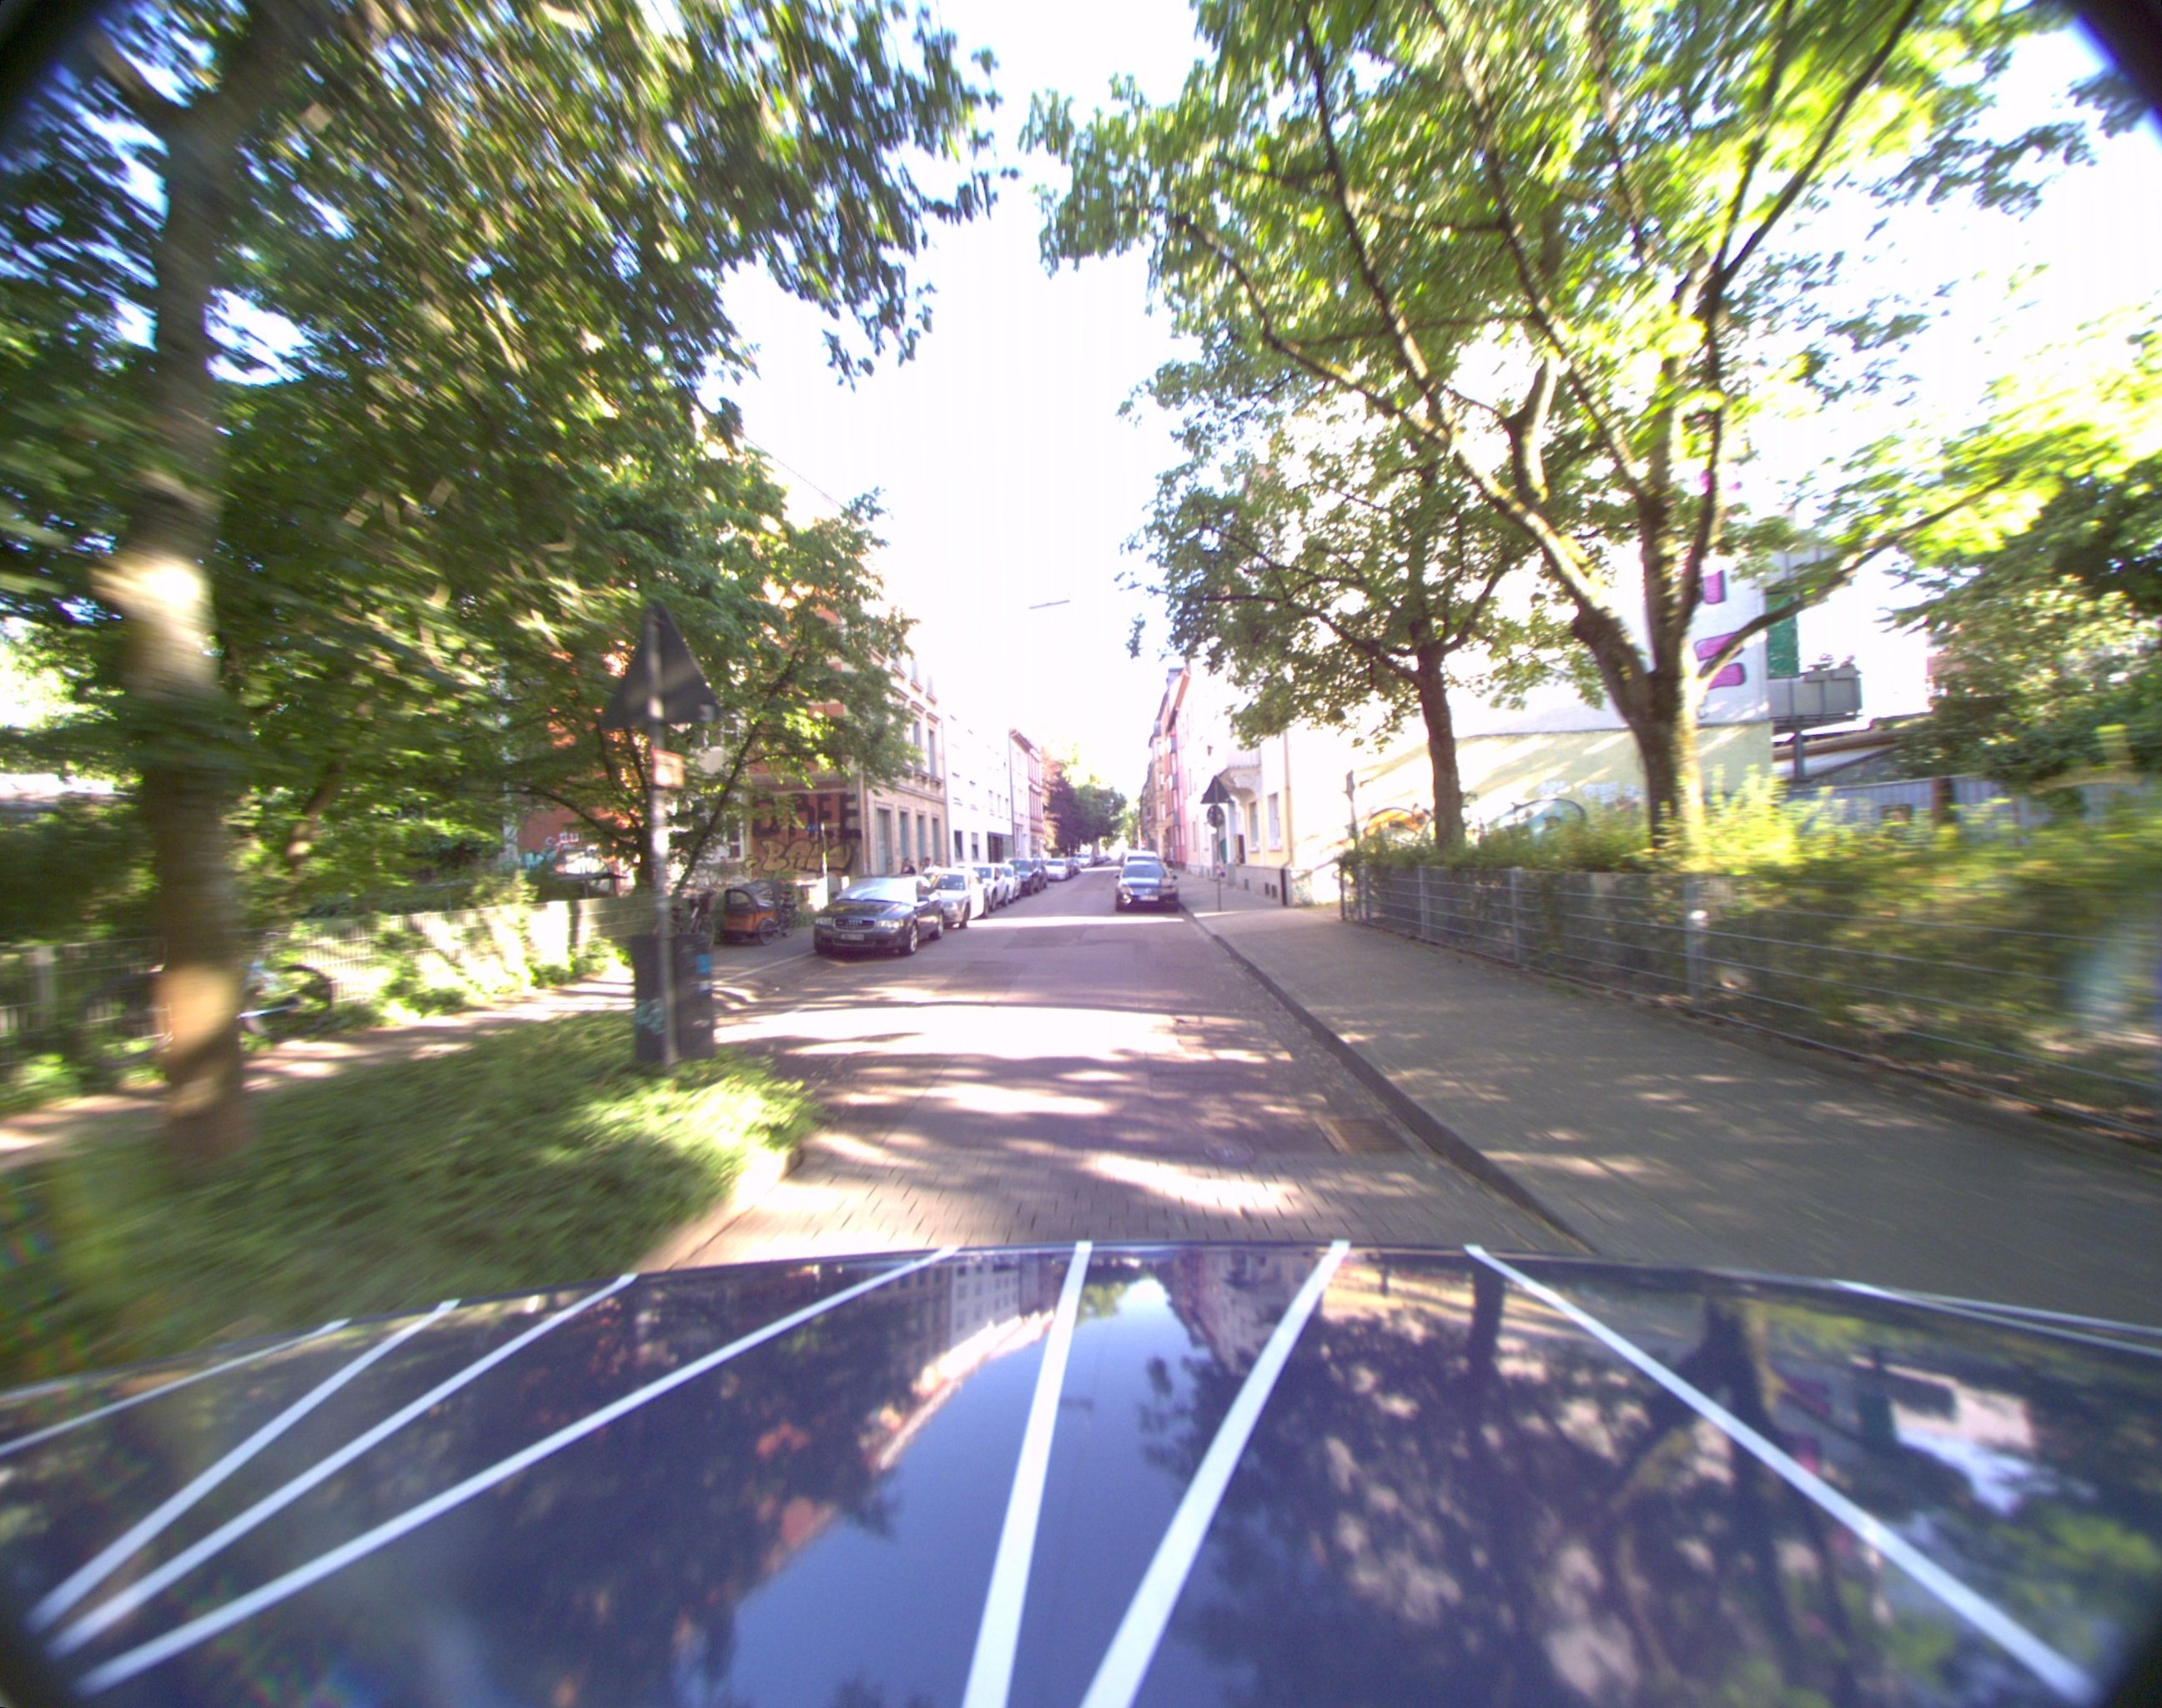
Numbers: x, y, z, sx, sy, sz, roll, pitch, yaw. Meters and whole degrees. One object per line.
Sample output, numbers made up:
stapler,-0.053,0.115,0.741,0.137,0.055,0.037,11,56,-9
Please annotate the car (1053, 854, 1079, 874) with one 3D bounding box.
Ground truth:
car,-1.178,0.782,61.035,1.768,1.524,4.103,0,1,3

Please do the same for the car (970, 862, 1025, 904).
car,-3.154,1.071,29.446,1.597,1.442,4.003,-1,0,1

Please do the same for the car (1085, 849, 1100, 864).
car,1.563,0.356,100.012,1.768,1.846,4.286,-2,0,3

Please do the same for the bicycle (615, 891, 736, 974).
bicycle,-6.863,1.291,12.995,0.848,1.193,1.982,-2,0,5

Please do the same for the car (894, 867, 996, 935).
car,-3.450,1.141,20.099,1.663,1.485,4.354,0,0,4

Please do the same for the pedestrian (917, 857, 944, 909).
pedestrian,-4.999,0.944,25.241,0.712,1.699,0.752,1,1,3

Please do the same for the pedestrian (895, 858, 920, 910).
pedestrian,-5.730,0.983,25.139,0.598,1.699,0.706,1,1,3

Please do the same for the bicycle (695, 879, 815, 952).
bicycle,-6.617,1.200,15.629,1.293,1.294,2.327,0,1,6

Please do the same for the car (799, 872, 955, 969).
car,-3.788,1.166,14.958,1.725,1.485,4.414,-1,0,2

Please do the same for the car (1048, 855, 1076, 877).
car,-1.363,0.845,56.573,1.768,1.524,4.103,0,1,3

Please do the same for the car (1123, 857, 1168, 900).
car,2.455,0.881,28.806,1.597,1.442,3.486,1,1,5

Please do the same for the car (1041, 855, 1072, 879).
car,-1.607,0.887,51.919,1.768,1.508,4.103,1,1,3

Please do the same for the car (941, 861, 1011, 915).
car,-3.383,1.073,25.160,1.597,1.576,3.764,-1,0,3

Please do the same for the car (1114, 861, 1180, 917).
car,1.911,0.970,22.985,1.783,1.435,4.393,1,1,3

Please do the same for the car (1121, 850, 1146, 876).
car,3.819,0.625,55.684,1.768,1.814,4.103,1,1,3

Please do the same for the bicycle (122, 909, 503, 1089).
bicycle,-7.270,1.282,7.512,0.848,1.260,2.693,-2,0,5

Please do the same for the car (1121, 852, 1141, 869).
car,4.652,0.577,70.879,1.768,1.524,4.103,1,1,3

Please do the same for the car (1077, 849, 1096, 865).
car,0.707,0.331,93.447,1.865,1.970,4.482,1,1,7

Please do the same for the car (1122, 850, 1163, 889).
car,2.871,0.676,36.304,1.753,1.731,4.315,1,1,2

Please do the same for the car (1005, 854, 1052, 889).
car,-2.680,0.859,39.454,1.885,1.657,4.328,1,1,3

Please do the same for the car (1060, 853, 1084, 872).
car,-0.748,0.744,66.171,1.768,1.524,4.103,1,1,3

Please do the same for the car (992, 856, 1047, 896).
car,-2.689,0.934,34.283,1.769,1.657,4.329,-1,0,5

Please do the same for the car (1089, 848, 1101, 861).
car,2.179,0.102,118.664,1.768,2.006,4.264,1,1,3

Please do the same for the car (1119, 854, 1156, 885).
car,3.092,0.788,41.238,1.674,1.519,4.087,1,1,9

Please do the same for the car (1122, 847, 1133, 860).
car,7.394,-0.099,120.494,1.768,2.075,4.264,1,1,3

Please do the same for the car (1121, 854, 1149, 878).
car,3.562,0.744,50.339,1.768,1.464,3.816,1,1,3
